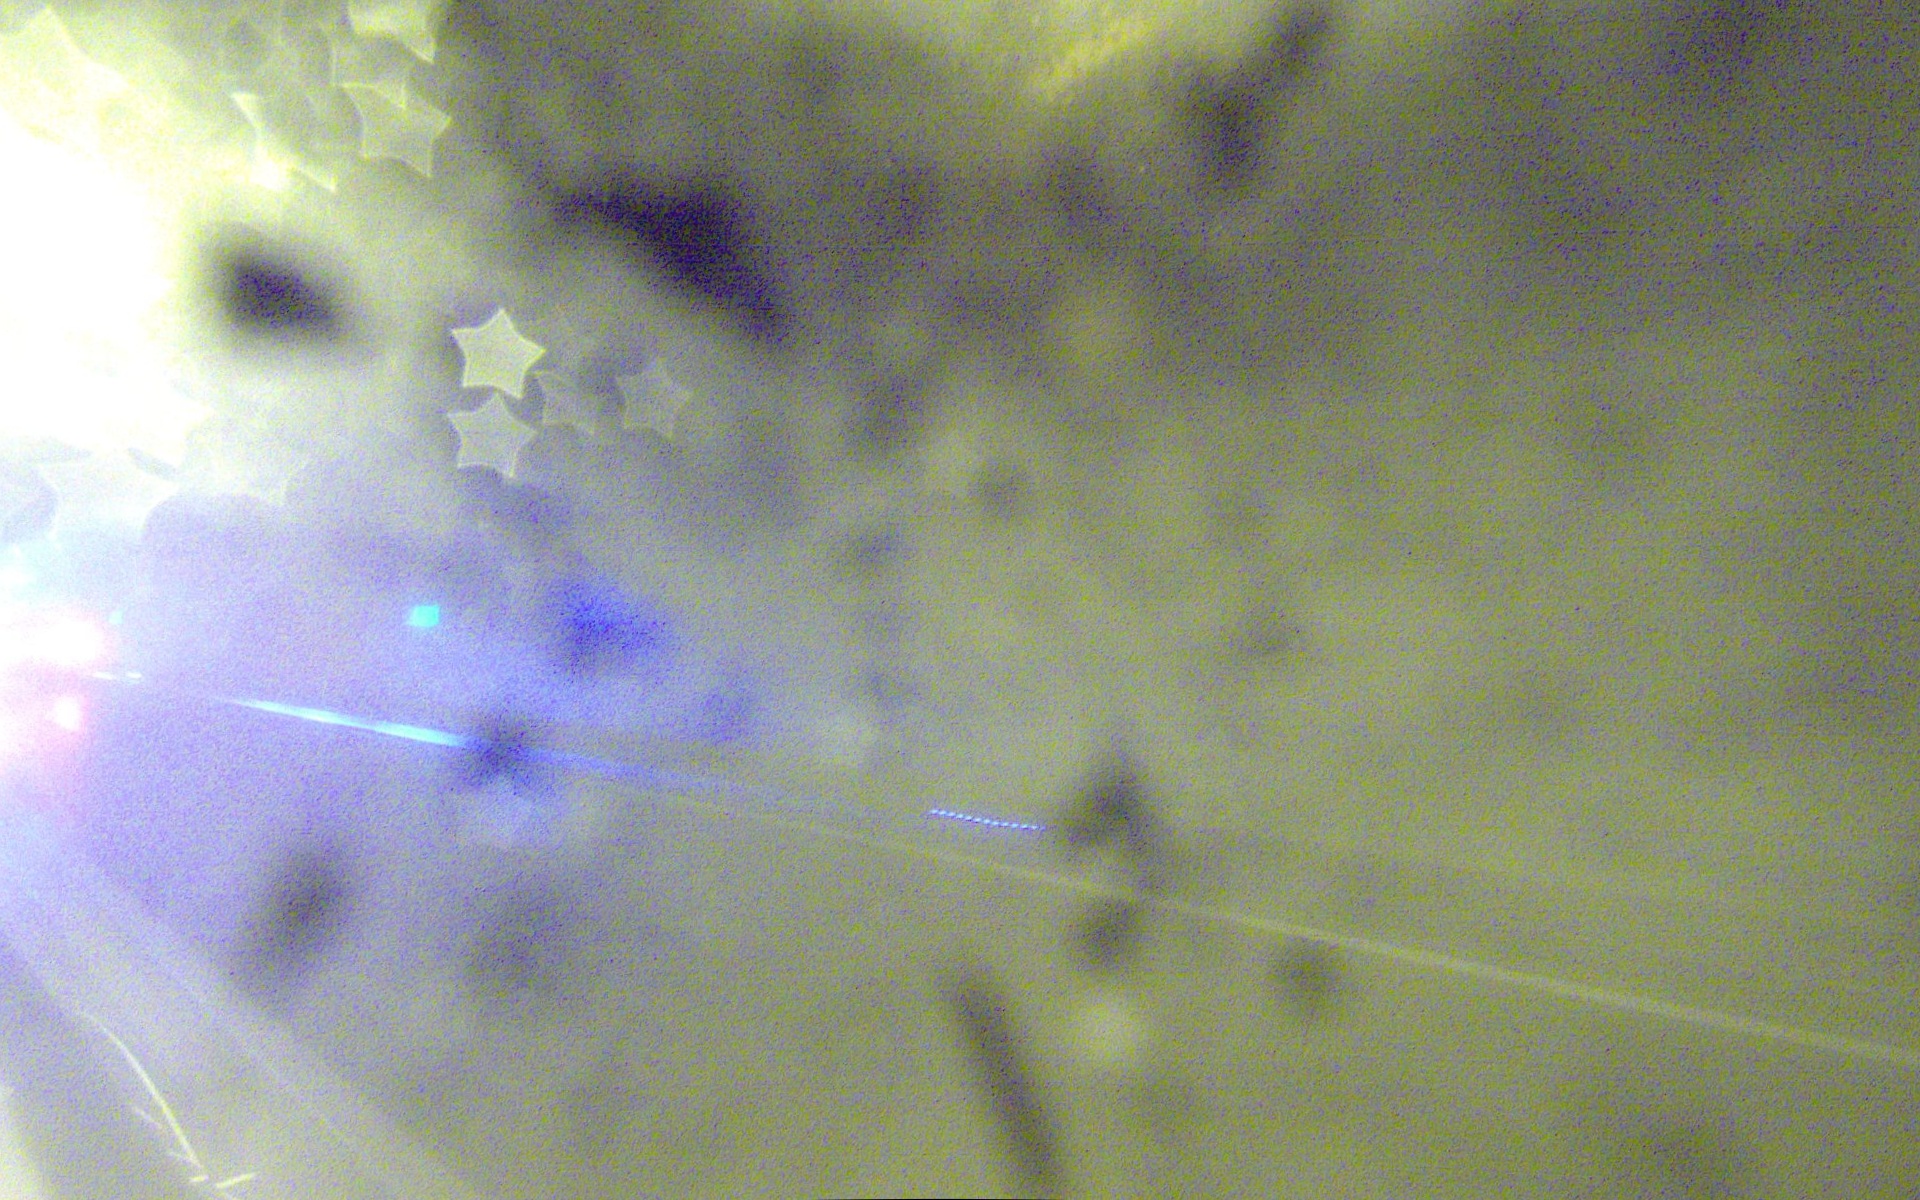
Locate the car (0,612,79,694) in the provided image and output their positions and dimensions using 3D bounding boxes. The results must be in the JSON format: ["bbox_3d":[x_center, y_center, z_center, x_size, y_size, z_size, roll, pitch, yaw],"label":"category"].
[{"bbox_3d":[-20.164,1.114,21.570,4.145,1.615,1.617,-3,-3,42],"label":"car"}]
